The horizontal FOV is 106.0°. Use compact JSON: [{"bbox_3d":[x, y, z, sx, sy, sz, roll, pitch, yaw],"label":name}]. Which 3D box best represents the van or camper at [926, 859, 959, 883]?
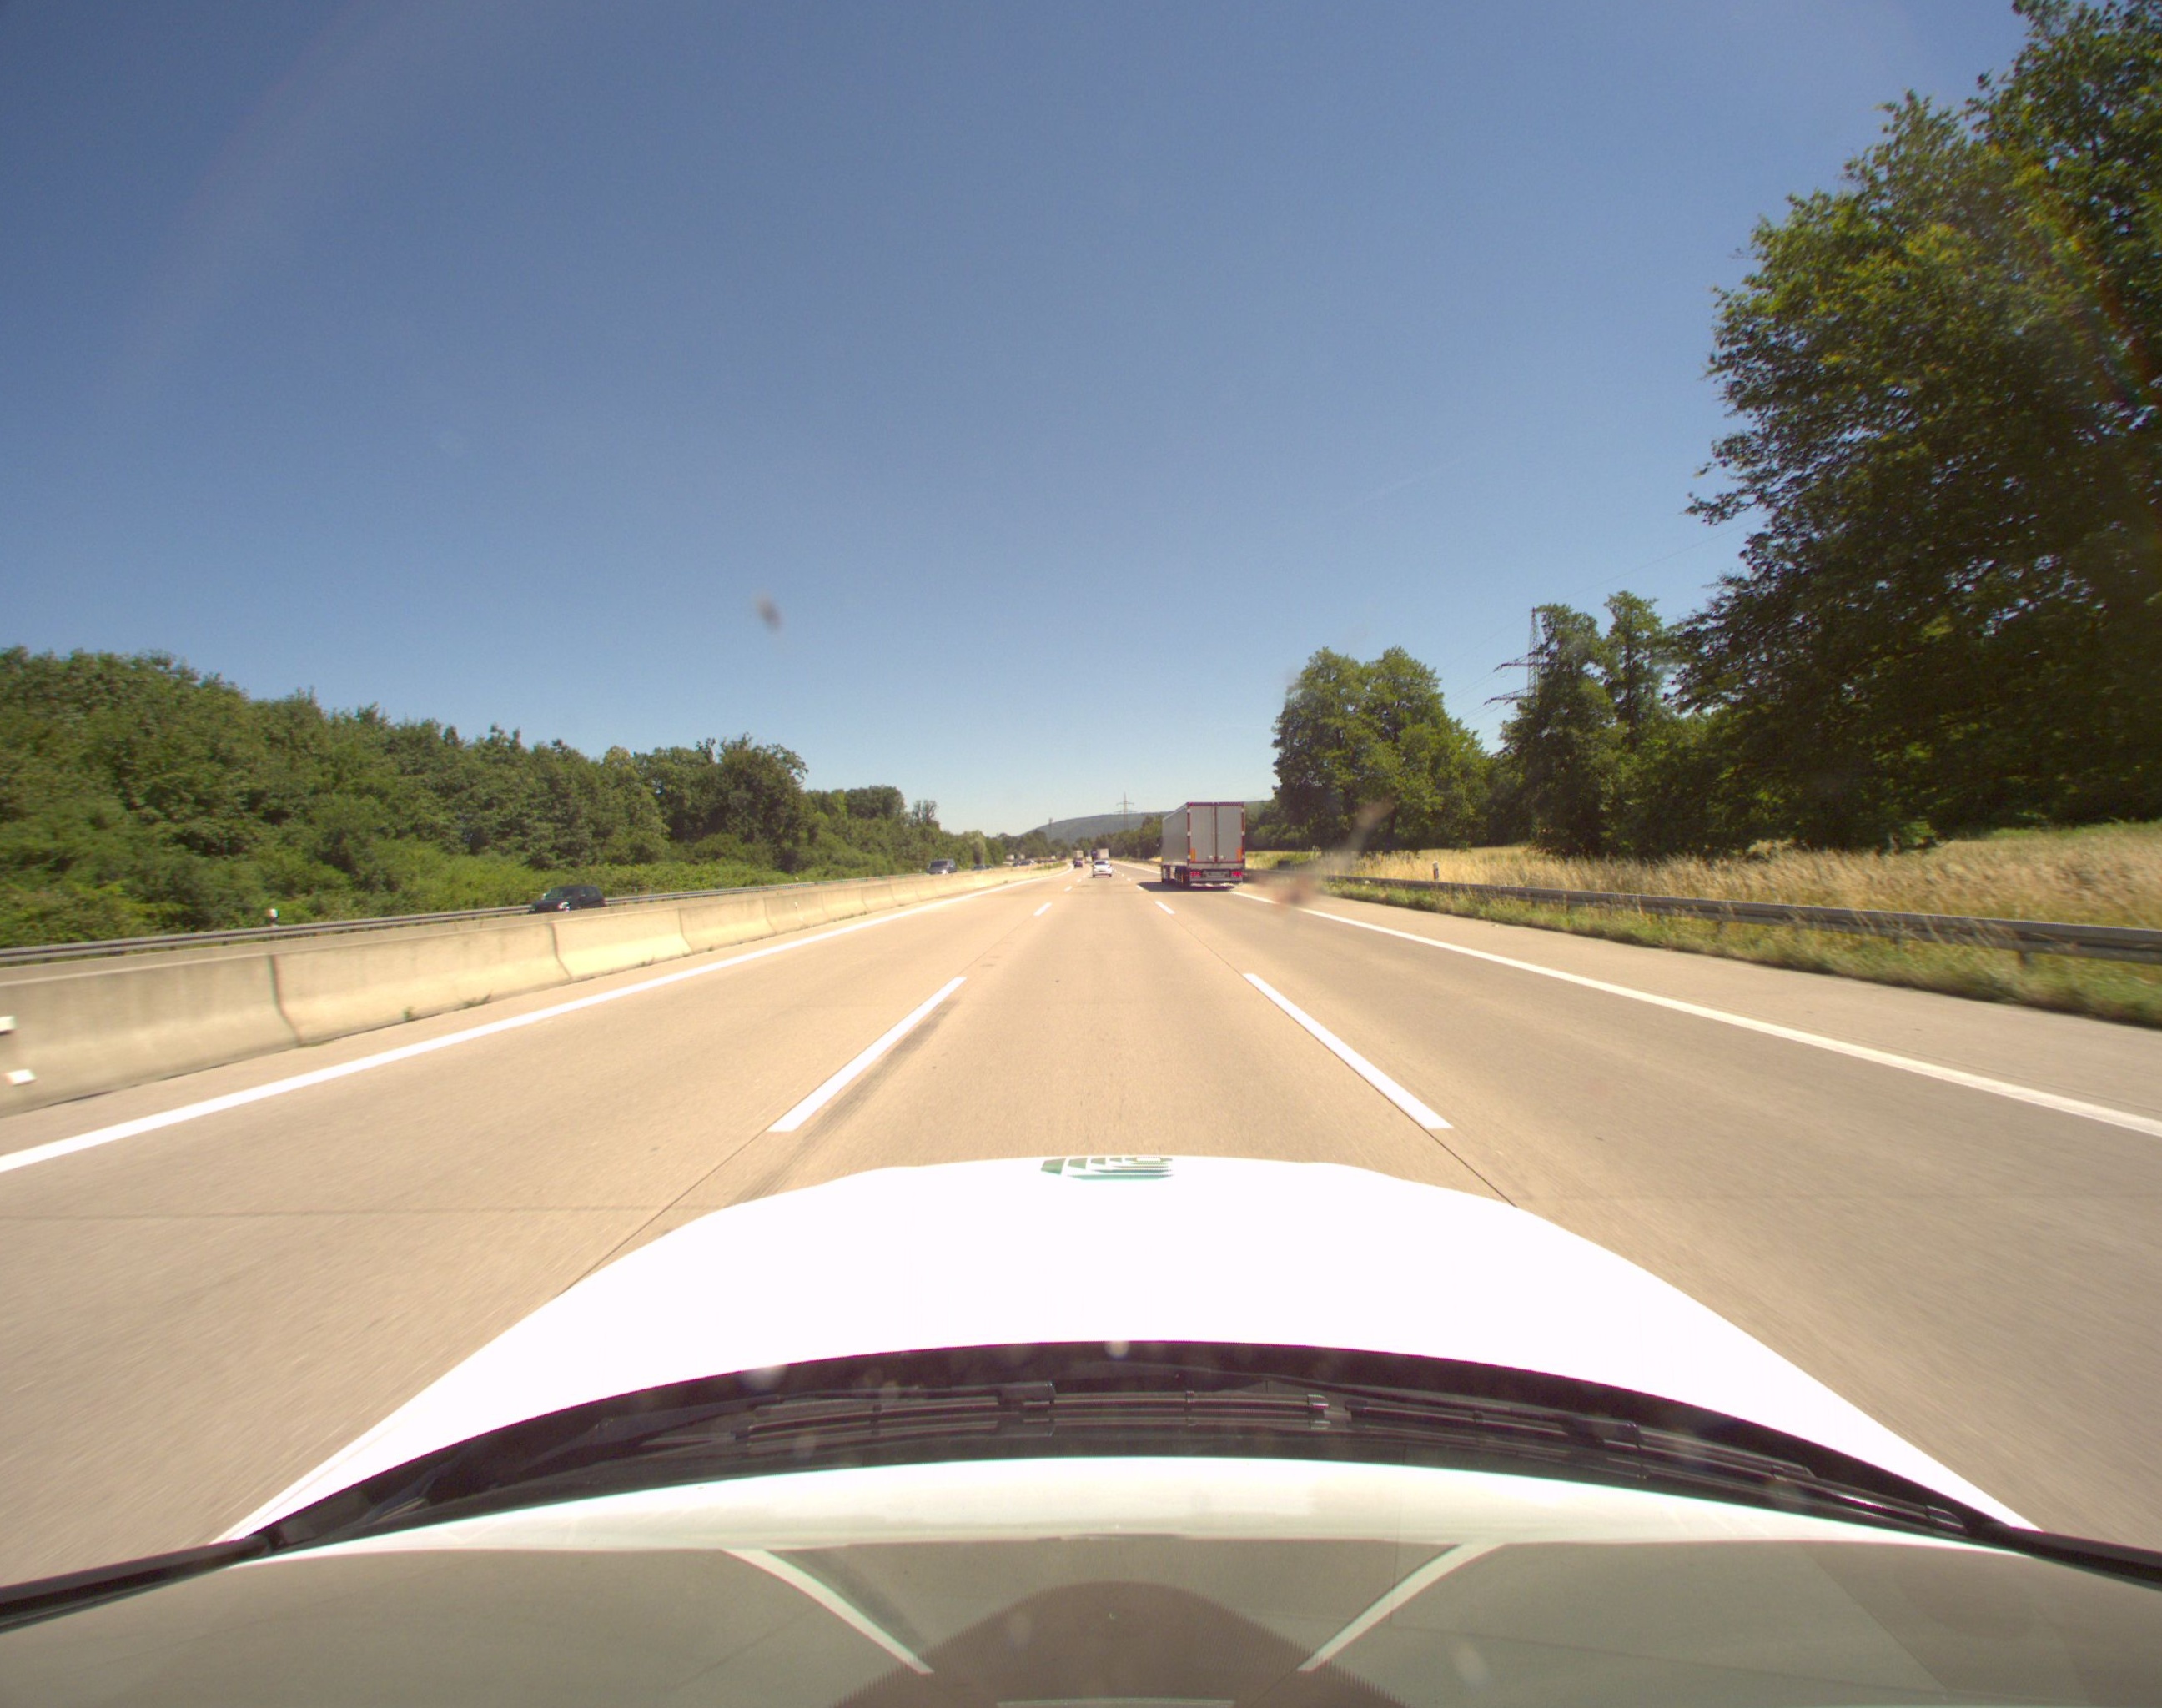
[{"bbox_3d":[-11.349,1.388,67.105,1.841,1.882,4.417,-2,0,1],"label":"van or camper"}]

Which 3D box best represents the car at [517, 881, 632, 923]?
[{"bbox_3d":[-19.986,1.856,32.349,1.920,1.376,4.002,-2,0,2],"label":"car"}]

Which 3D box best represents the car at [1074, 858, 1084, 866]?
[{"bbox_3d":[-0.483,1.689,178.673,2.016,1.700,3.998,0,0,-1],"label":"car"}]

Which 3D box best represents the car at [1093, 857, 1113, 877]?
[{"bbox_3d":[1.954,1.161,72.263,1.635,1.662,3.361,-1,0,1],"label":"car"}]

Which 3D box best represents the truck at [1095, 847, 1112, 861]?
[{"bbox_3d":[6.676,-0.003,243.050,3.811,3.889,14.138,-5,0,-3],"label":"truck"}]

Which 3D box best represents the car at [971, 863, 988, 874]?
[{"bbox_3d":[-13.972,2.003,112.087,1.625,1.418,3.525,-2,0,2],"label":"car"}]

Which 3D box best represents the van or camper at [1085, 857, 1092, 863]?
[{"bbox_3d":[2.344,1.853,249.310,1.862,1.837,3.998,-5,0,-1],"label":"van or camper"}]

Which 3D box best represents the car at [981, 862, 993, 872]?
[{"bbox_3d":[-17.851,2.498,155.292,1.698,1.658,4.089,-2,-1,0],"label":"car"}]

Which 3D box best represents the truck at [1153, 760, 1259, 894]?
[{"bbox_3d":[6.284,-1.211,44.892,3.563,5.787,18.256,-2,0,2],"label":"truck"}]

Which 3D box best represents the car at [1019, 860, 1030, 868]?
[{"bbox_3d":[-10.311,1.792,147.777,1.554,1.418,3.524,-2,0,2],"label":"car"}]

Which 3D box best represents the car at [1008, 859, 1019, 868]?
[{"bbox_3d":[-13.656,1.882,165.376,1.697,1.658,4.405,-2,0,0],"label":"car"}]
